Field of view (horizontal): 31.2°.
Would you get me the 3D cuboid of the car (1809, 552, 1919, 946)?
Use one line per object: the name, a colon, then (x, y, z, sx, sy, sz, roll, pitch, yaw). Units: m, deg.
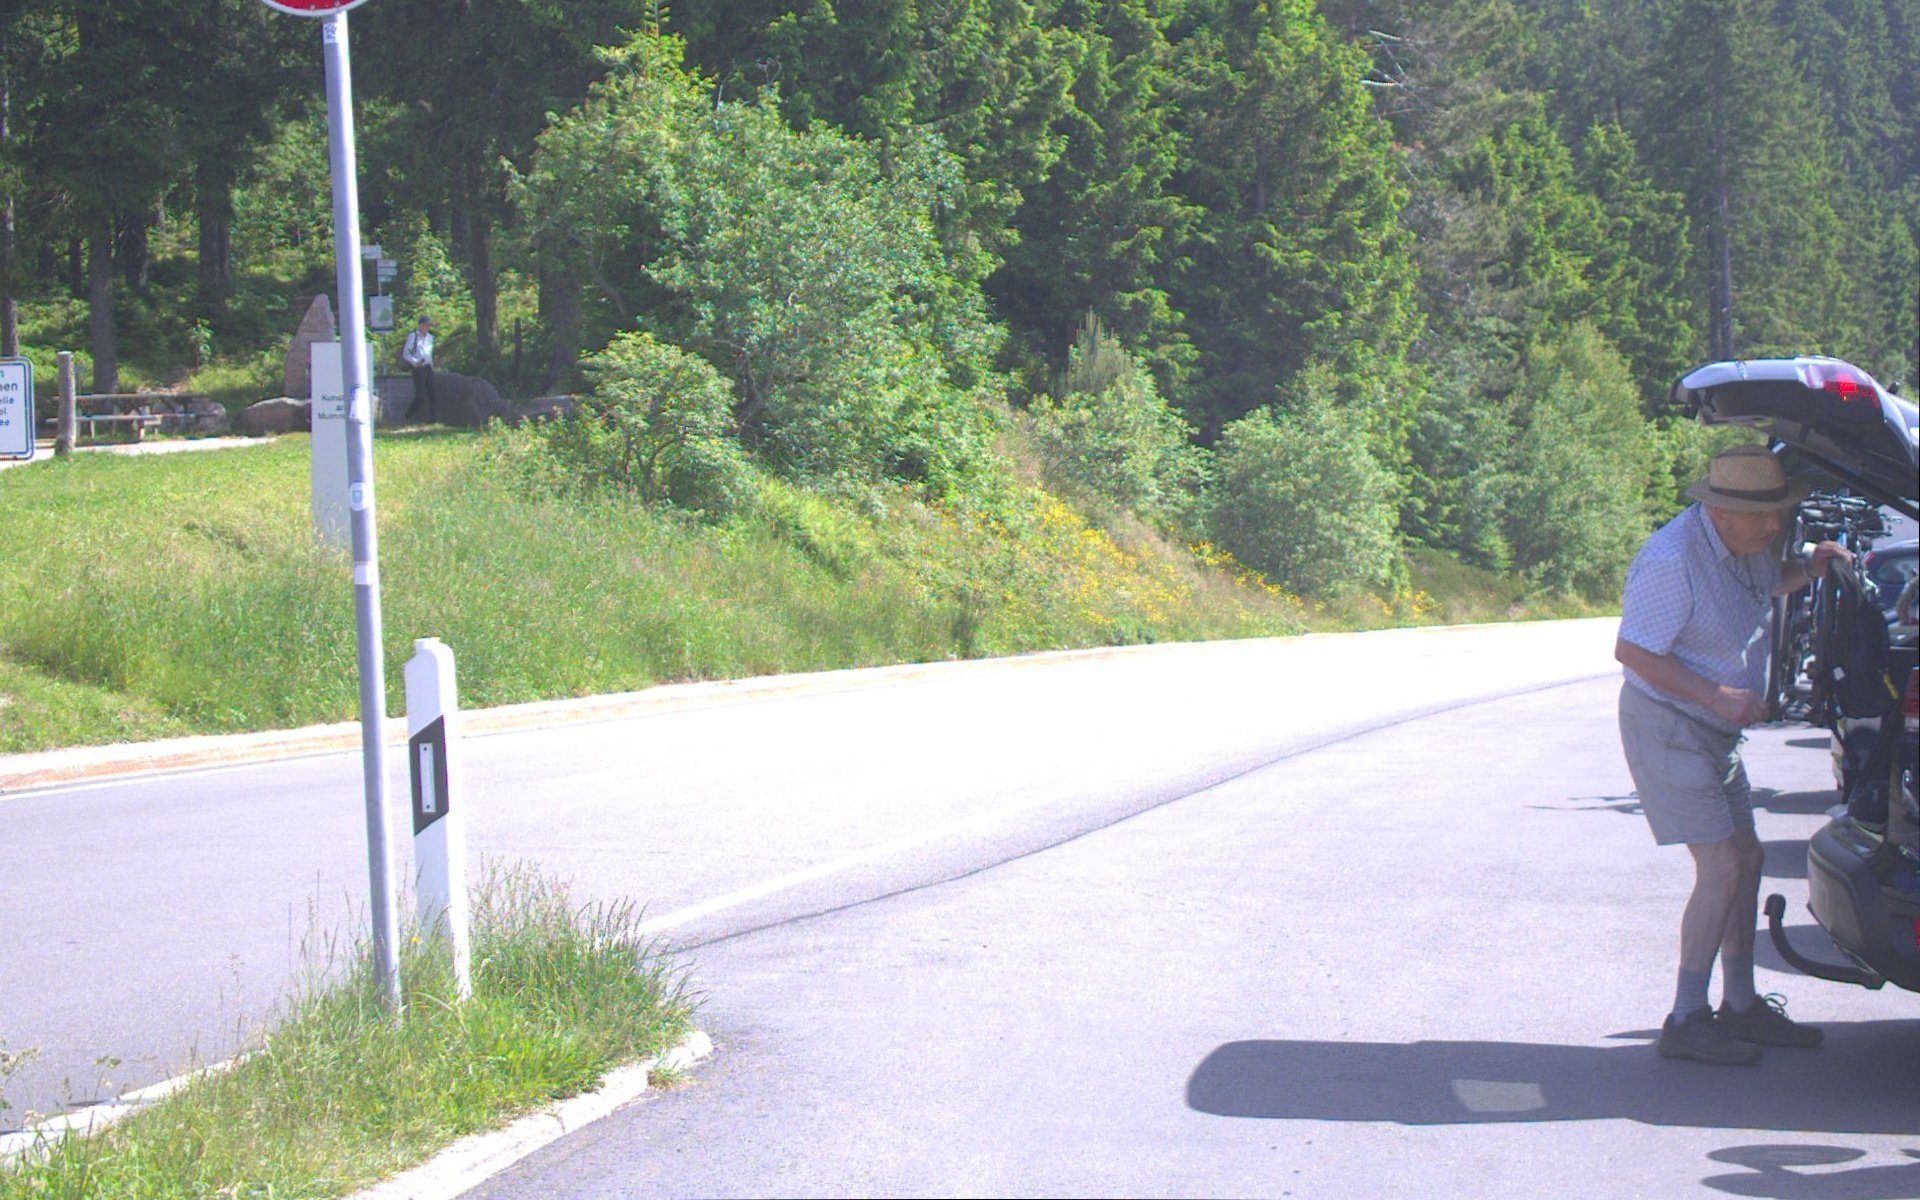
car: (5.352, 0.563, 12.691, 4.082, 1.372, 1.702, 1, 1, 6)

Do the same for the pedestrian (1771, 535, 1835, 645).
pedestrian: (12.217, -0.149, 49.824, 0.771, 1.579, 0.771, -1, 1, 22)

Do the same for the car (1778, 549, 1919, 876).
car: (5.775, 0.512, 15.123, 4.083, 1.372, 1.702, 2, 1, 9)

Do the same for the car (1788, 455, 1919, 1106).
car: (4.531, 0.541, 9.159, 4.346, 1.620, 1.869, 3, 1, 10)

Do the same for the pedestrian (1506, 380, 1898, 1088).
pedestrian: (2.058, 0.325, 9.552, 0.756, 1.864, 0.737, -3, 5, -44)

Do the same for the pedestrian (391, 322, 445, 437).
pedestrian: (-9.018, -3.662, 57.211, 0.540, 1.871, 0.682, -2, 1, -42)

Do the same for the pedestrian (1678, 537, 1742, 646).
pedestrian: (11.013, -0.131, 50.473, 0.771, 1.579, 0.771, -1, 1, 22)

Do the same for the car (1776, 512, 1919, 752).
car: (7.654, 0.165, 22.844, 4.247, 1.548, 1.837, -1, 1, 16)

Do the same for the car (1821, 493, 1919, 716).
car: (9.115, -0.022, 25.880, 5.037, 1.645, 2.046, -1, 1, 16)

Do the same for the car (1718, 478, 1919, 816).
car: (6.519, 0.203, 17.677, 4.953, 1.690, 1.943, -1, 1, 18)

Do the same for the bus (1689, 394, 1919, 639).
bus: (17.479, -1.302, 49.849, 13.111, 3.520, 3.039, -1, 1, 26)

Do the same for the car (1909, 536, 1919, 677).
car: (11.935, 0.018, 35.702, 3.990, 1.444, 1.860, -1, 1, 16)
